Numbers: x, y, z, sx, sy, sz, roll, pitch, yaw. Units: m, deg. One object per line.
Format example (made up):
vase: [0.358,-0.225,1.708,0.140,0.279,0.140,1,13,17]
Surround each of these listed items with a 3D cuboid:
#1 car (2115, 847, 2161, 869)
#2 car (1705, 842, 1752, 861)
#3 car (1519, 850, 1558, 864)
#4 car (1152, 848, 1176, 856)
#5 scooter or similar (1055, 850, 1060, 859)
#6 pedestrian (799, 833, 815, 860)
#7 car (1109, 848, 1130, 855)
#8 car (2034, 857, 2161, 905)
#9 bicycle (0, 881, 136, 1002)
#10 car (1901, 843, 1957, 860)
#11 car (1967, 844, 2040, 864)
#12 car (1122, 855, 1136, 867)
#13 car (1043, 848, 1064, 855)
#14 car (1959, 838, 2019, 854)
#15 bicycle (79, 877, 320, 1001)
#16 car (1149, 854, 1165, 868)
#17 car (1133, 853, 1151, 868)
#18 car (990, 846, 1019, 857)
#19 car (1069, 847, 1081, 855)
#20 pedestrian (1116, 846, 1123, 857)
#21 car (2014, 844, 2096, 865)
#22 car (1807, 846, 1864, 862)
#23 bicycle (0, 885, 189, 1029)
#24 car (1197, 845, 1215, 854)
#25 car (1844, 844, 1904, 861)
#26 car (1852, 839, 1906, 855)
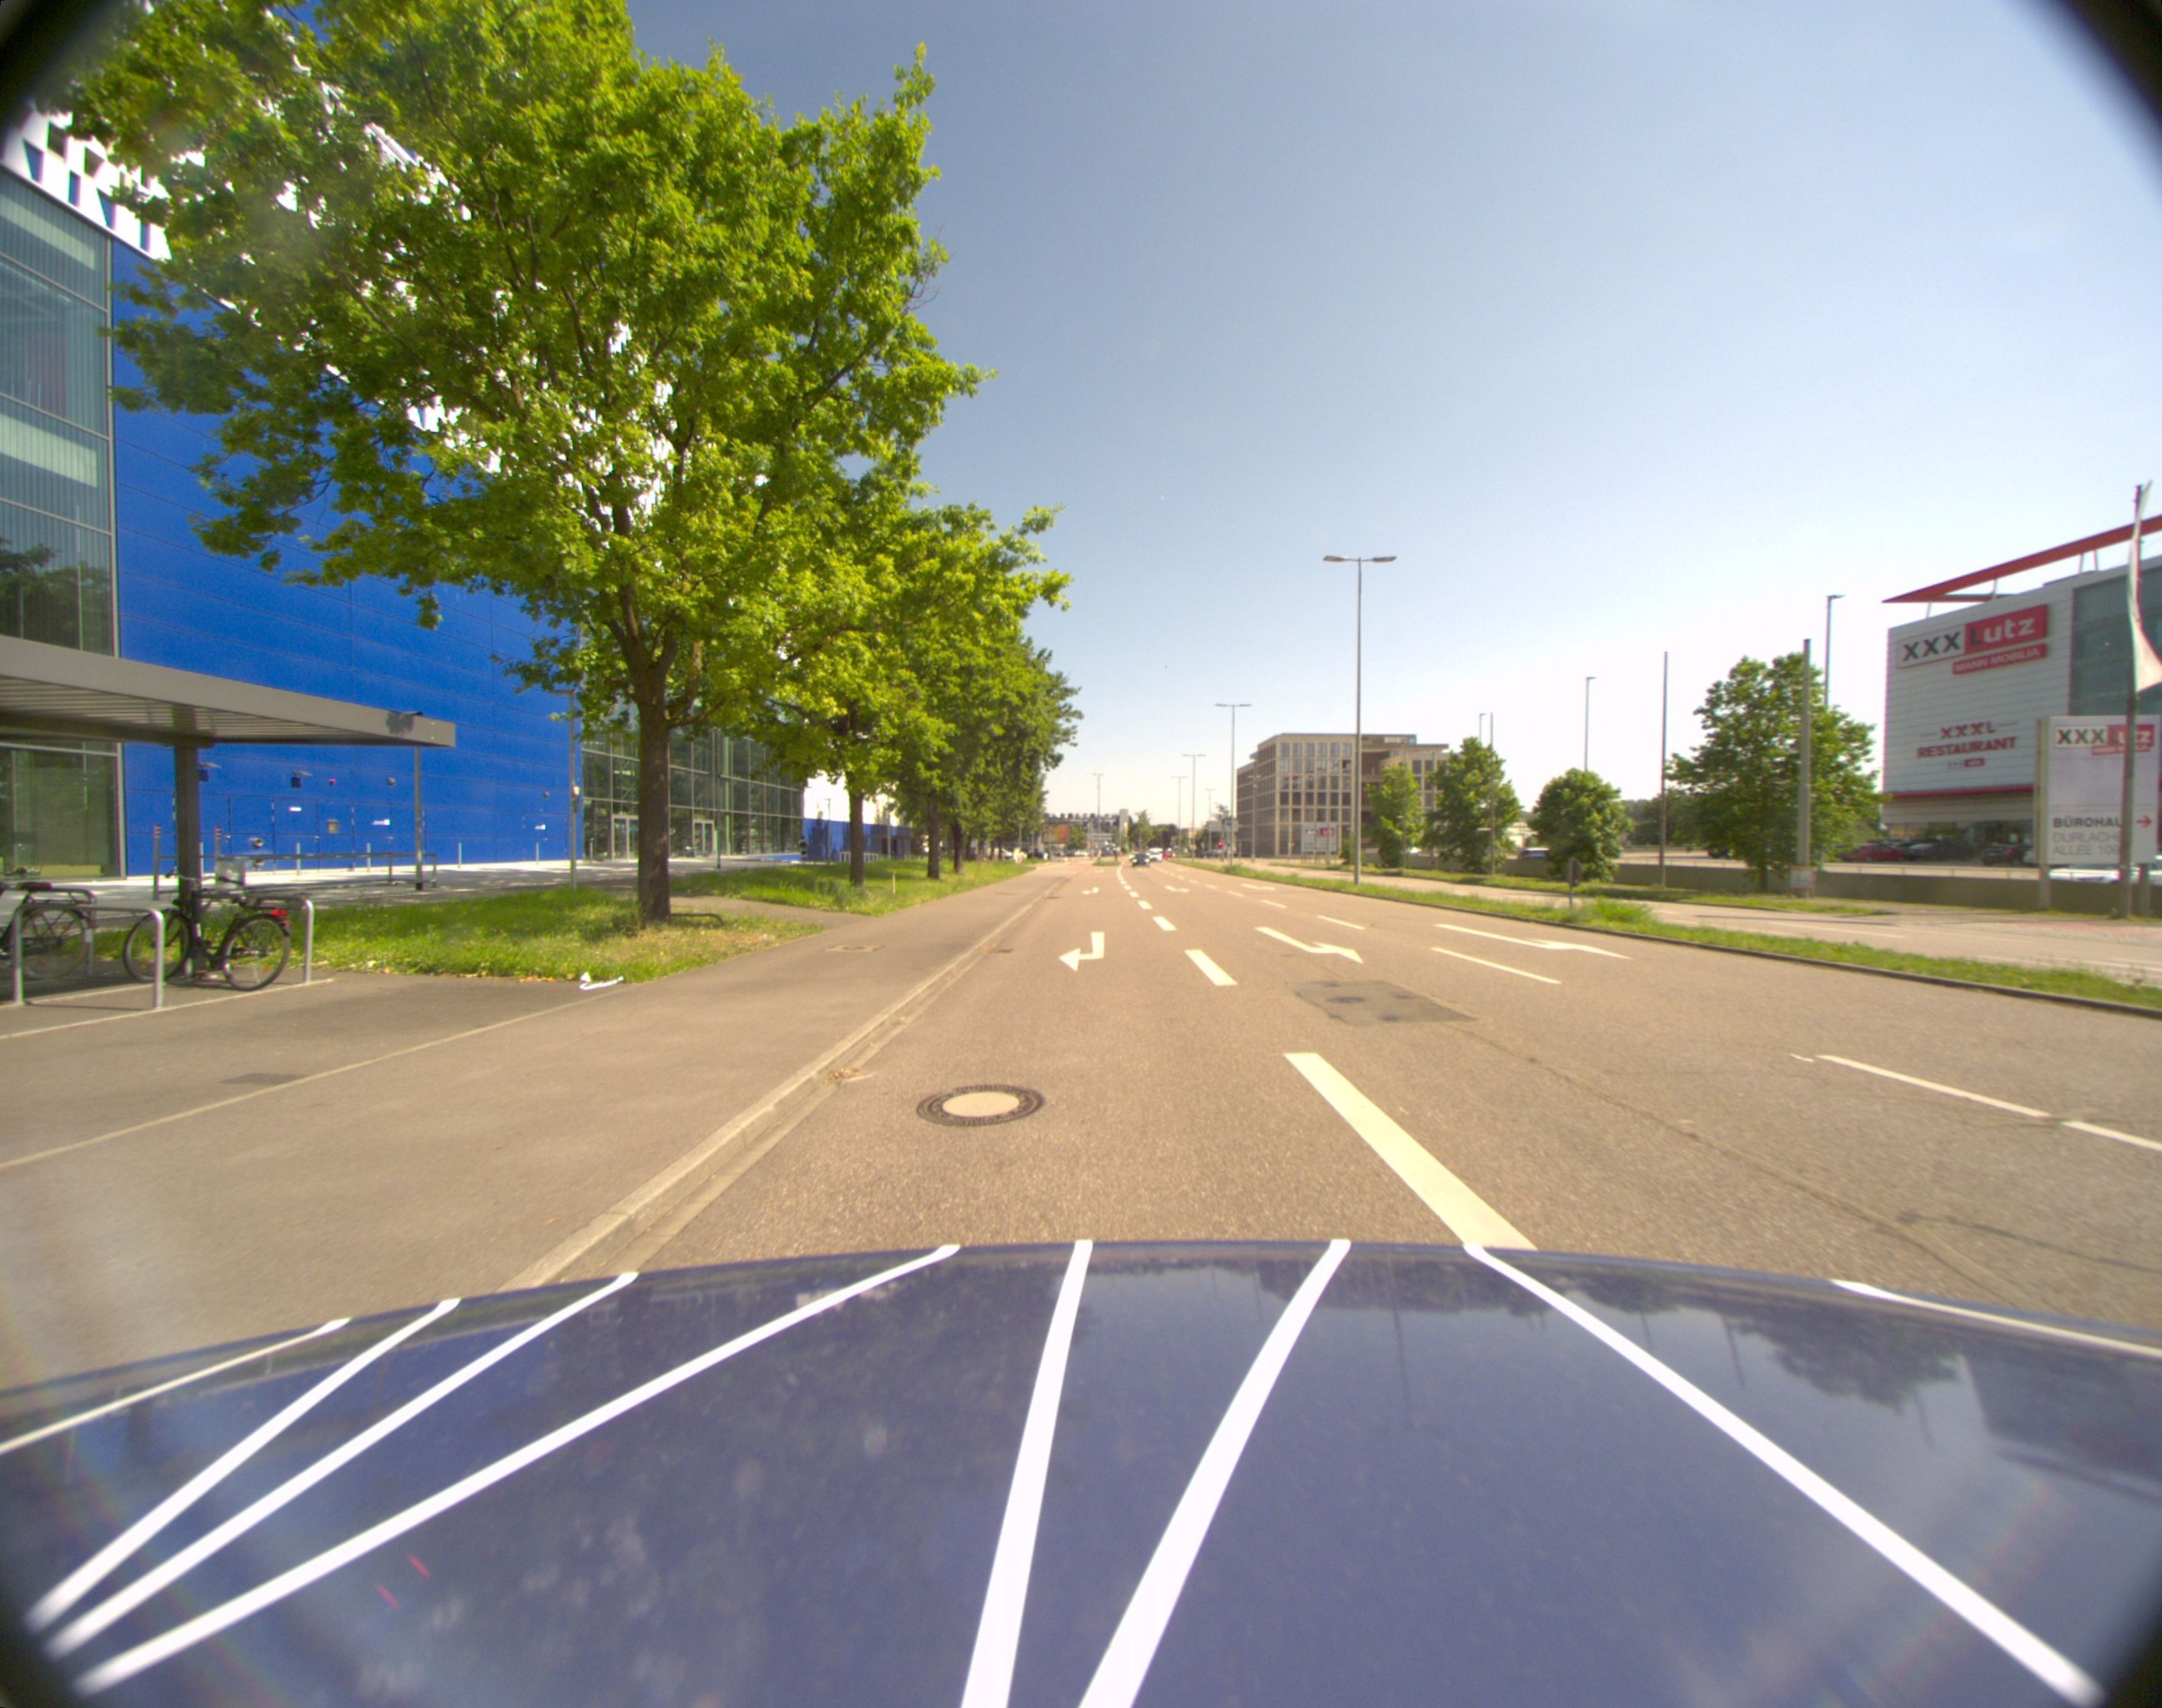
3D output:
car: [62.957,0.224,44.218,3.507,1.192,1.480,0,2,0]
car: [62.794,-0.263,73.696,3.095,1.748,1.692,0,2,0]
car: [37.190,0.222,61.754,2.519,1.054,1.071,0,2,-1]
car: [15.064,-0.384,137.745,4.117,1.519,1.530,0,1,-1]
scooter or similar: [-3.286,0.081,106.149,0.402,1.160,1.185,1,2,18]
pedestrian: [-16.439,-0.445,45.529,0.690,1.602,0.771,1,1,-2]
car: [8.148,-0.522,160.002,4.478,1.578,1.980,0,1,2]
car: [37.483,0.944,27.203,4.424,1.618,1.871,0,1,-1]
bicycle: [-10.145,0.812,7.233,1.762,1.090,0.452,0,1,1]
car: [67.982,-0.216,60.928,3.095,1.322,1.218,0,2,0]
car: [63.078,-0.015,52.008,3.095,1.322,1.515,0,2,0]
car: [7.306,1.091,115.878,1.833,1.703,3.765,0,2,1]
car: [-5.673,-0.587,157.713,4.348,1.342,1.821,0,1,-1]
car: [75.940,-0.664,63.561,3.095,1.322,1.515,0,2,0]
bicycle: [-8.263,0.778,7.151,1.762,1.090,0.452,1,1,1]
car: [11.153,0.968,111.604,2.025,1.827,4.311,0,2,2]
car: [6.485,0.669,81.030,1.770,1.456,4.239,2,2,4]
car: [-13.520,-0.452,134.432,4.997,1.996,1.740,0,2,0]
car: [-1.148,-0.639,156.835,1.997,1.452,4.002,0,1,6]
pedestrian: [6.197,-0.440,122.884,0.704,1.770,0.961,1,1,26]
car: [62.751,0.015,48.986,3.095,1.322,1.703,0,2,0]
car: [63.011,0.008,63.511,3.222,1.322,1.515,0,2,0]
bicycle: [-8.365,0.811,6.155,1.762,1.090,0.463,0,1,1]
car: [31.004,-1.090,188.867,3.990,2.002,2.003,1,1,22]
car: [63.501,-0.155,60.862,3.222,1.322,1.515,0,2,0]
car: [69.710,-0.600,66.396,3.095,1.377,1.515,0,2,0]
